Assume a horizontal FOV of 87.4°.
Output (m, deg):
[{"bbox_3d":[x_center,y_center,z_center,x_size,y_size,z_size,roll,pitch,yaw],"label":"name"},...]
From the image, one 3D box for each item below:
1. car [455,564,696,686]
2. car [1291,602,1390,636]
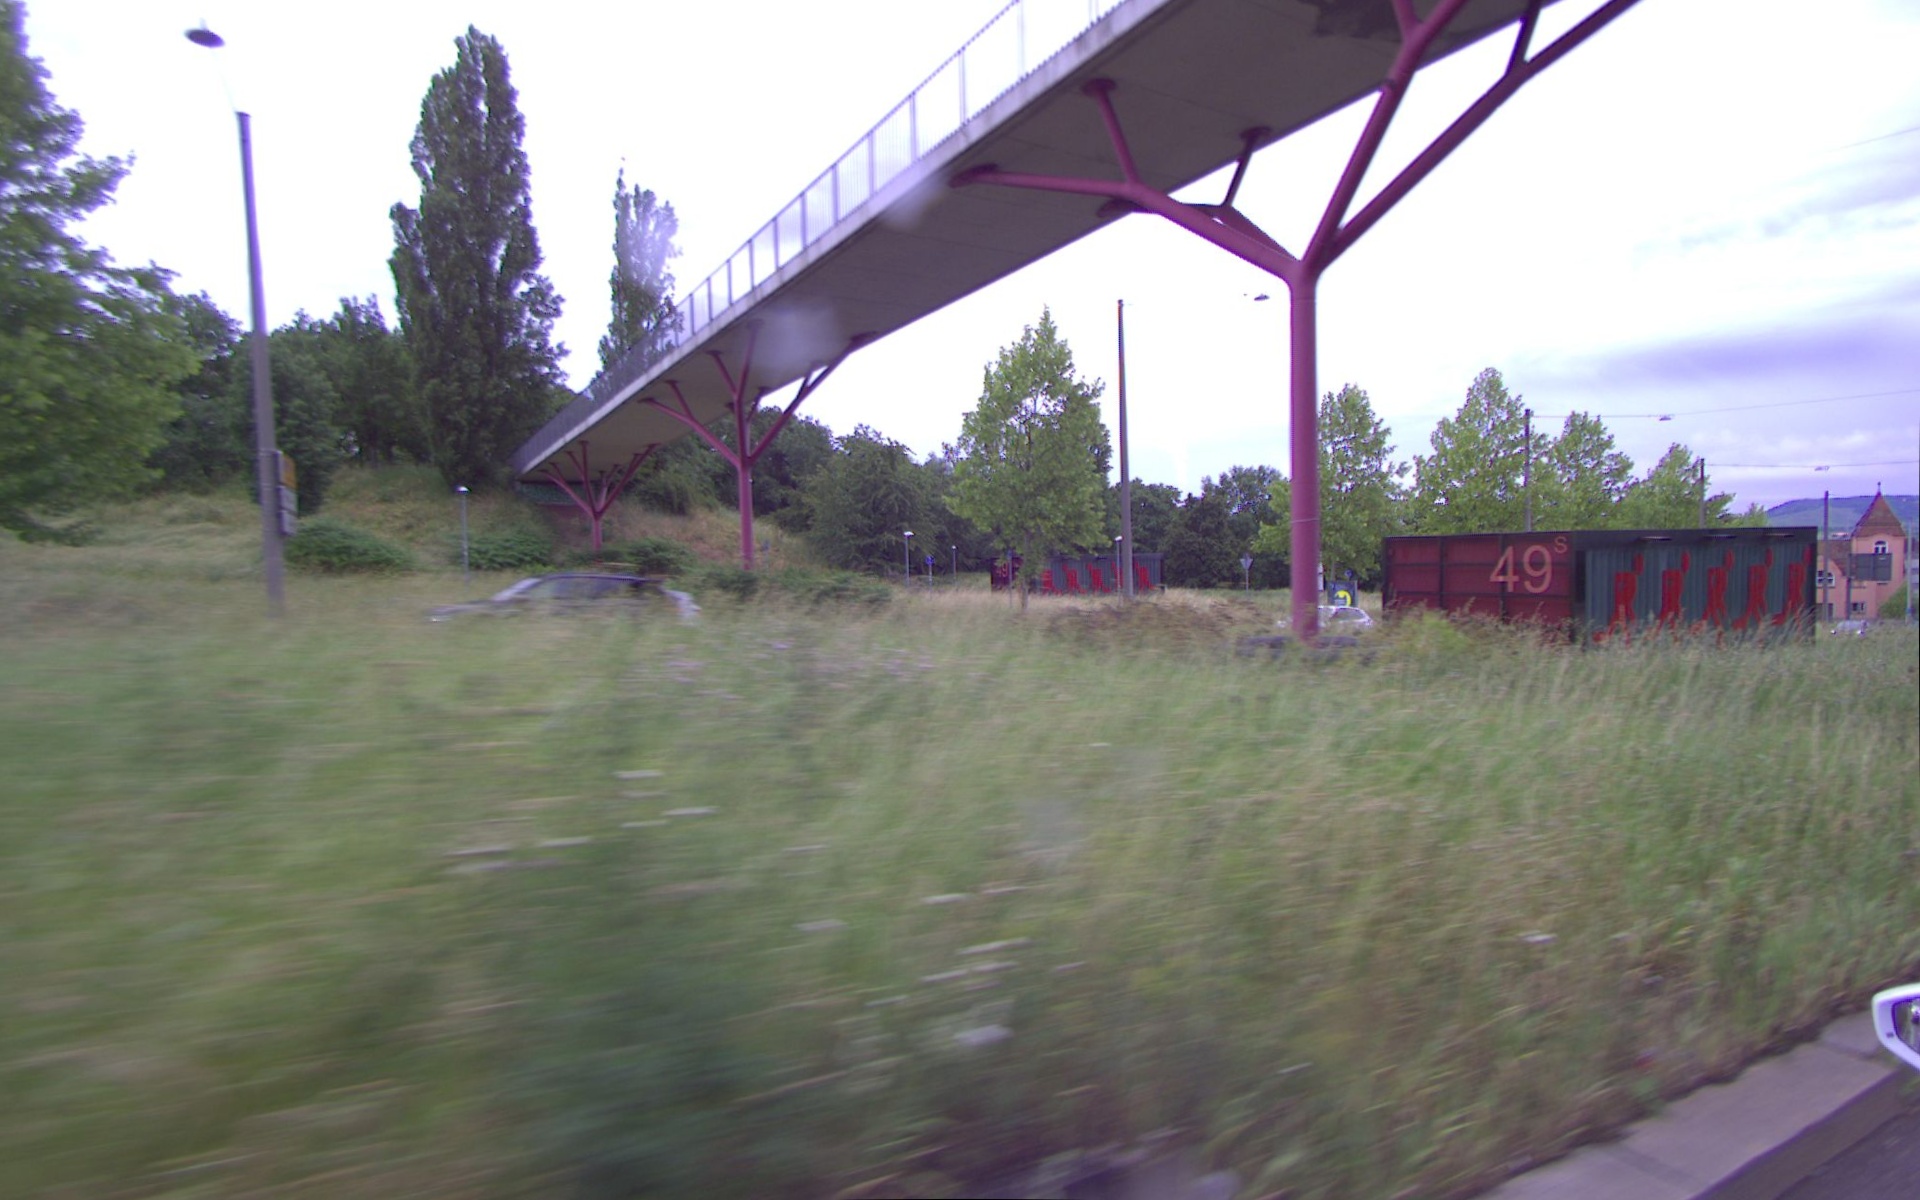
[{"bbox_3d":[-7.285,0.443,19.091,3.956,2.041,1.982,2,3,-32],"label":"car"},{"bbox_3d":[12.335,0.614,32.567,3.046,0.957,1.261,2,2,-27],"label":"car"}]
